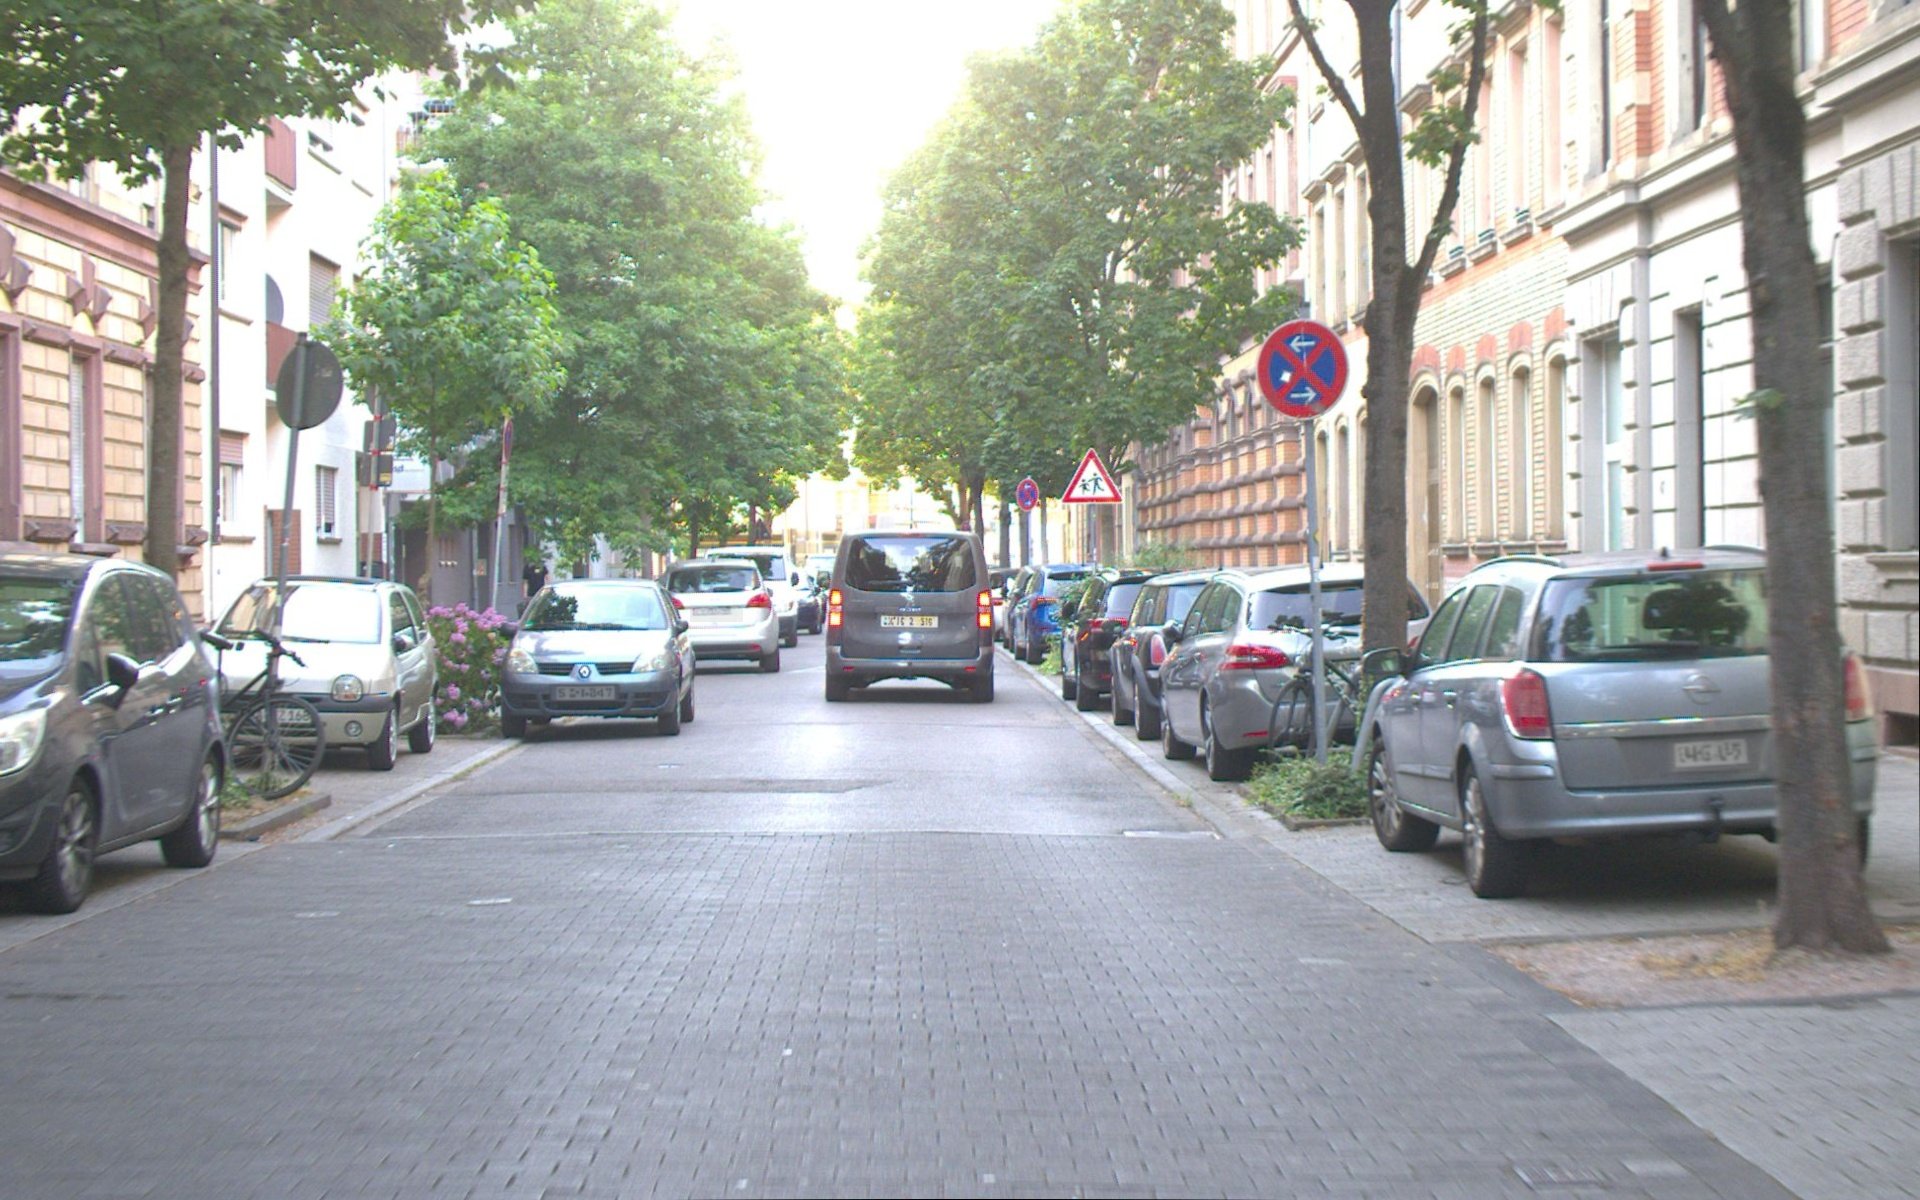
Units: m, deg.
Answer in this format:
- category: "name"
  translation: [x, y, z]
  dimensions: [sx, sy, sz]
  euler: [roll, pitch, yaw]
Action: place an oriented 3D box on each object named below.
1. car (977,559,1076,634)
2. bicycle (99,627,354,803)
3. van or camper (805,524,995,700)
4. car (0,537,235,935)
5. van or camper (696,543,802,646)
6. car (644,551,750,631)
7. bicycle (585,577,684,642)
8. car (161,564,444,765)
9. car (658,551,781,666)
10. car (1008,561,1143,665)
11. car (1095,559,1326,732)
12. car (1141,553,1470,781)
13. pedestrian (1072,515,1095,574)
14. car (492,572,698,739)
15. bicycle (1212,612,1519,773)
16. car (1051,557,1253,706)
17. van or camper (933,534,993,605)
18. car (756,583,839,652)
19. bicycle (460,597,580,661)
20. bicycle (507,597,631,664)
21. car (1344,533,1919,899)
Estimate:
- category: "car"
  translation: [1.293, -0.097, 68.295]
  dimensions: [1.693, 1.396, 4.646]
  euler: [-1, 1, -2]
- category: "bicycle"
  translation: [-4.779, 0.727, 22.342]
  dimensions: [1.826, 1.081, 0.667]
  euler: [0, -1, 42]
- category: "van or camper"
  translation: [-0.621, 0.106, 39.134]
  dimensions: [2.035, 1.891, 4.271]
  euler: [0, 1, 1]
- category: "car"
  translation: [-4.628, 0.507, 15.880]
  dimensions: [1.706, 1.575, 4.078]
  euler: [1, 1, 0]
- category: "van or camper"
  translation: [-3.945, -0.131, 64.580]
  dimensions: [1.876, 1.836, 4.753]
  euler: [-1, 1, -3]
- category: "car"
  translation: [-5.621, -0.214, 74.066]
  dimensions: [1.993, 1.641, 4.922]
  euler: [1, 1, -1]
- category: "bicycle"
  translation: [-6.014, 0.168, 63.546]
  dimensions: [0.698, 1.159, 1.818]
  euler: [0, 1, 41]
- category: "car"
  translation: [-5.045, 0.451, 26.773]
  dimensions: [1.587, 1.432, 3.566]
  euler: [1, 1, -2]
- category: "car"
  translation: [-3.461, 0.099, 49.323]
  dimensions: [1.663, 1.558, 4.001]
  euler: [-1, 1, -4]
- category: "car"
  translation: [1.681, 0.169, 51.388]
  dimensions: [1.627, 1.461, 4.246]
  euler: [-1, 1, -3]
- category: "car"
  translation: [2.197, 0.365, 30.948]
  dimensions: [1.635, 1.419, 3.565]
  euler: [-2, 1, -2]
- category: "car"
  translation: [2.446, 0.418, 25.341]
  dimensions: [1.716, 1.471, 4.369]
  euler: [-2, 1, -3]
- category: "pedestrian"
  translation: [3.445, -1.556, 95.837]
  dimensions: [0.627, 1.643, 0.532]
  euler: [0, 0, -1]
- category: "car"
  translation: [-3.322, 0.467, 31.810]
  dimensions: [1.580, 1.415, 3.753]
  euler: [-1, 1, -2]
- category: "bicycle"
  translation: [2.652, 0.589, 22.445]
  dimensions: [1.915, 0.978, 0.638]
  euler: [-1, 1, -22]
- category: "car"
  translation: [1.969, 0.289, 36.447]
  dimensions: [1.766, 1.410, 4.474]
  euler: [-2, 1, -1]
- category: "van or camper"
  translation: [0.085, -1.127, 127.540]
  dimensions: [1.993, 2.590, 5.425]
  euler: [0, 0, -3]
- category: "car"
  translation: [-3.688, 0.378, 78.712]
  dimensions: [1.830, 1.512, 4.516]
  euler: [-1, 0, -2]
- category: "bicycle"
  translation: [-6.205, 0.407, 48.526]
  dimensions: [1.660, 0.895, 0.383]
  euler: [0, 0, -31]
- category: "bicycle"
  translation: [-5.424, 0.419, 47.765]
  dimensions: [1.699, 0.904, 0.383]
  euler: [0, 0, -31]
- category: "car"
  translation: [3.006, 0.439, 16.167]
  dimensions: [1.758, 1.458, 4.308]
  euler: [-1, 1, -2]
